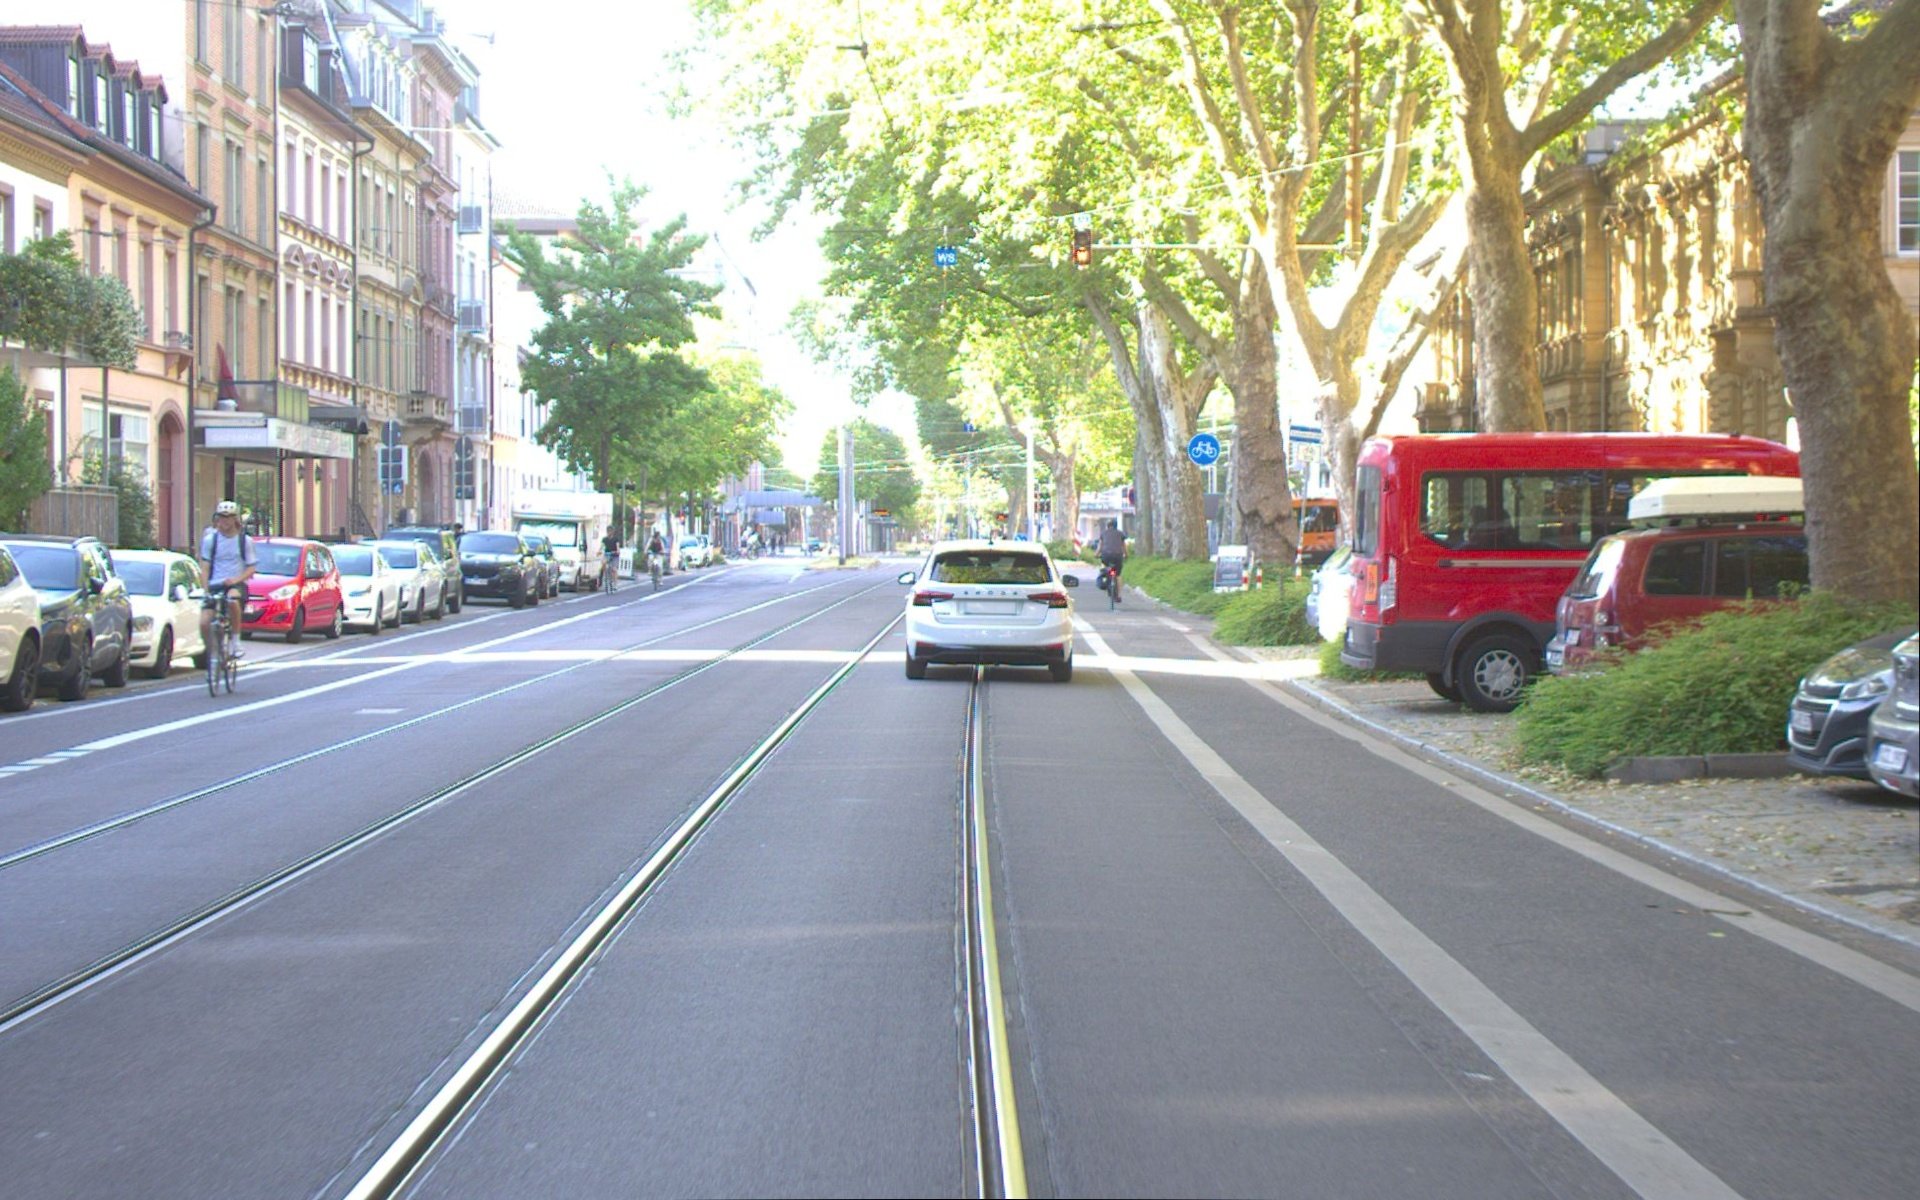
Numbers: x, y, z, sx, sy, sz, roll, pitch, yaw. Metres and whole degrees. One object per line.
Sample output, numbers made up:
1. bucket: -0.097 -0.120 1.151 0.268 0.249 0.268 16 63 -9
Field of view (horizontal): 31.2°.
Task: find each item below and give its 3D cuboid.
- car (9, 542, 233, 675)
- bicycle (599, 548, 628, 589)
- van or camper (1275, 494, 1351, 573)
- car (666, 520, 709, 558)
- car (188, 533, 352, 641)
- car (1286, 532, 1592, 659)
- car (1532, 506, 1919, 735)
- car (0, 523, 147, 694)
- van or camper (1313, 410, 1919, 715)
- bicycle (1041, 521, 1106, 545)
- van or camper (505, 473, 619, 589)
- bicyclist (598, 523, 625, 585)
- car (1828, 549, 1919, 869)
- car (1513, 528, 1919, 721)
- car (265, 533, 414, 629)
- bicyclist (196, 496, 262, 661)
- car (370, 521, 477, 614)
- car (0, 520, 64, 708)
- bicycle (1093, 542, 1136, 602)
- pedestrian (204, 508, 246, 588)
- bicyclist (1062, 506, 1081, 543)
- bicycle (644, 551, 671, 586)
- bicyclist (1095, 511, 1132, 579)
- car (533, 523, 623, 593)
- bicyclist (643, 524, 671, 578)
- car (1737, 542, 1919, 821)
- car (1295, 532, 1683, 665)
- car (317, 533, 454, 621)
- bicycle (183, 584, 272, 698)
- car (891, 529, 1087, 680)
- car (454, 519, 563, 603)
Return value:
1. car: -10.094 0.064 41.652 1.687 1.472 4.258 1 1 -1
2. bicycle: -9.232 -0.853 91.715 0.484 1.044 2.039 -2 1 1
3. van or camper: 11.429 -2.155 111.579 2.027 2.455 5.108 1 1 2
4. car: -12.722 -2.846 160.496 1.794 1.720 3.785 1 1 -2
5. car: -10.365 -0.219 51.837 1.569 1.557 3.448 0 1 4
6. car: 6.304 -0.074 45.525 3.751 1.503 1.681 2 1 0
7. car: 6.566 0.135 26.782 3.818 1.643 1.767 -2 0 -3
8. car: -9.929 0.040 36.591 1.856 1.698 4.660 -1 1 -5
9. van or camper: 6.325 -0.386 31.466 5.814 2.510 2.288 -2 2 -2
10. bicycle: 4.951 -2.924 150.104 2.771 0.996 0.592 1 1 14
11. van or camper: -11.191 -1.936 97.125 2.216 3.129 7.113 1 1 1
12. bicyclist: -9.303 -1.240 91.818 0.535 1.629 0.896 -2 1 1
13. car: 6.367 0.467 17.157 3.595 1.512 1.694 -2 1 0
14. car: 6.769 0.182 29.410 3.733 1.524 1.669 -1 1 -3
15. car: -10.319 -0.354 57.446 1.827 1.497 4.689 1 1 -3
16. bicyclist: -7.318 -0.218 34.418 0.473 1.630 0.800 0 1 0
17. car: -10.434 -0.651 67.022 1.555 1.726 3.686 1 1 -1
18. car: -9.632 0.139 30.904 1.856 1.698 4.763 0 1 0
19. bicycle: 3.038 -0.562 67.689 0.680 1.151 2.964 1 1 0
20. pedestrian: -15.208 -1.077 71.148 0.771 1.628 0.657 1 1 -16
21. bicyclist: 4.886 -3.293 150.130 0.737 1.583 0.586 0 1 12
22. bicycle: -8.517 -0.882 96.784 0.499 0.940 1.921 -2 1 1
23. bicyclist: 3.013 -1.084 67.662 0.679 1.334 0.525 1 1 0
24. car: -9.961 -1.117 89.904 1.964 1.775 4.471 1 1 -2
25. bicyclist: -8.513 -1.386 96.499 0.638 1.498 1.070 -1 1 1
26. car: 6.657 0.394 20.366 3.670 1.518 1.694 -2 1 0
27. car: 6.171 -0.032 40.437 4.286 1.412 1.760 -2 1 1
28. car: -10.434 -0.453 62.684 1.827 1.497 4.450 1 1 -1
29. bicycle: -7.315 0.398 34.392 0.481 1.082 1.846 0 1 0
30. car: 0.249 0.015 36.084 1.842 1.475 3.839 1 1 -2
31. car: -10.347 -0.920 79.076 1.964 1.775 4.938 3 1 -2
